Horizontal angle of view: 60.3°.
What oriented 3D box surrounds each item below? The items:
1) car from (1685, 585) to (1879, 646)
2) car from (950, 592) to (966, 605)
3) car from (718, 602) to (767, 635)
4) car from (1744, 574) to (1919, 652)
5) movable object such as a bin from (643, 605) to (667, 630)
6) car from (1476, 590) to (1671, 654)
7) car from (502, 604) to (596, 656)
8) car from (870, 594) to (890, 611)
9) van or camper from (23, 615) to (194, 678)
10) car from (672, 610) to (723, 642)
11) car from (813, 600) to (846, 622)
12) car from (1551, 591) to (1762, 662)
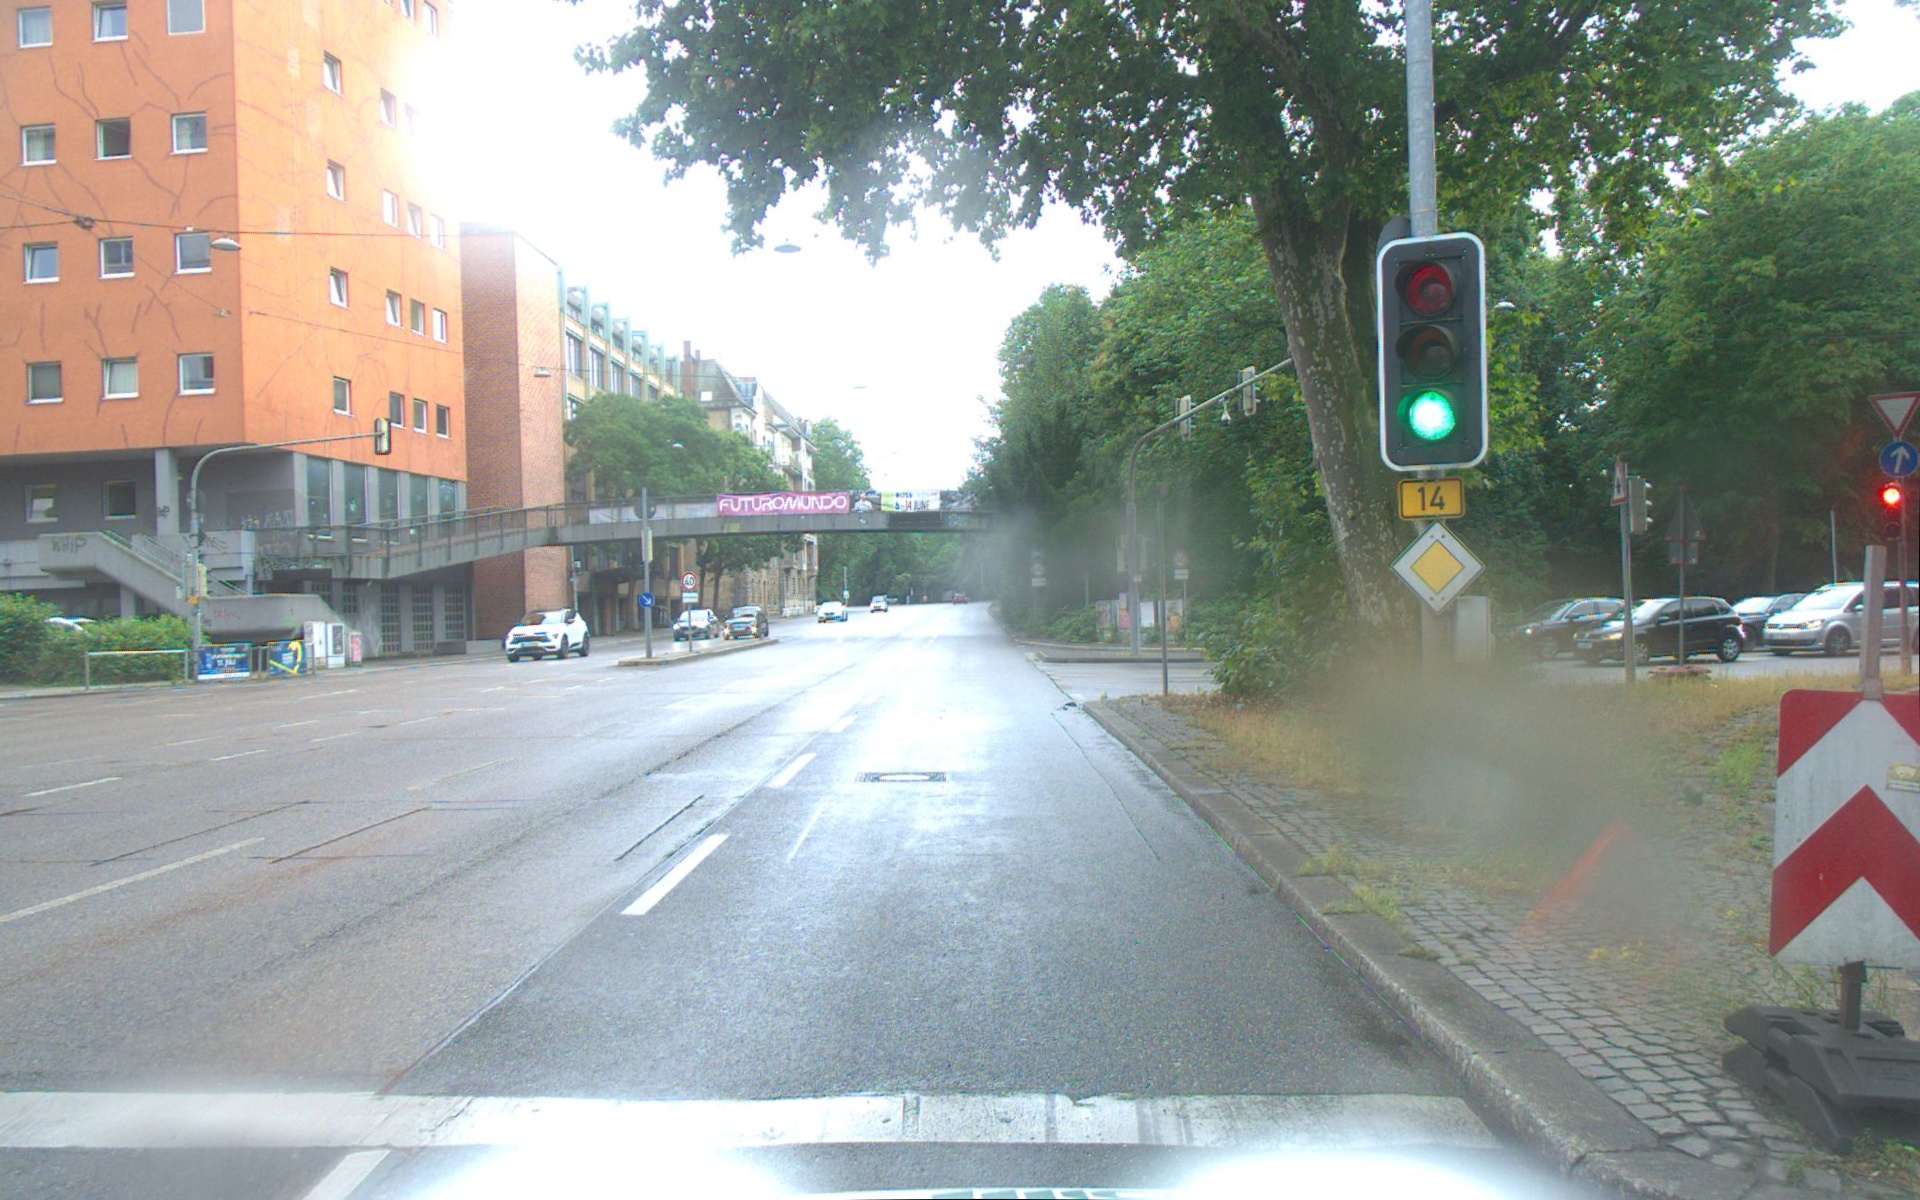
[{"bbox_3d":[20.798,0.397,41.870,4.361,1.427,1.821,1,0,-17],"label":"car"},{"bbox_3d":[-0.263,-0.188,215.786,1.963,1.672,4.375,-1,0,0],"label":"car"},{"bbox_3d":[-10.044,0.848,76.616,1.648,1.461,3.863,-2,0,1],"label":"car"},{"bbox_3d":[20.658,0.320,38.548,4.129,1.709,1.898,1,0,-17],"label":"car"},{"bbox_3d":[-19.688,1.123,106.828,1.256,1.545,1.273,-1,0,1],"label":"movable object such as a bin"},{"bbox_3d":[14.940,0.538,40.313,4.131,1.466,1.941,1,0,-17],"label":"car"},{"bbox_3d":[-13.547,0.962,54.704,1.850,1.638,4.457,-1,0,2],"label":"car"},{"bbox_3d":[-7.722,0.234,159.624,1.568,1.525,3.712,-3,0,1],"label":"car"},{"bbox_3d":[-24.302,1.318,47.290,3.902,1.656,1.915,-1,0,5],"label":"van or camper"},{"bbox_3d":[-12.867,1.244,81.208,1.673,1.490,4.042,-2,0,2],"label":"car"},{"bbox_3d":[-8.974,0.774,113.923,1.793,1.418,4.405,-3,0,1],"label":"car"},{"bbox_3d":[15.373,0.588,36.539,4.119,1.486,1.785,1,0,-17],"label":"car"}]
